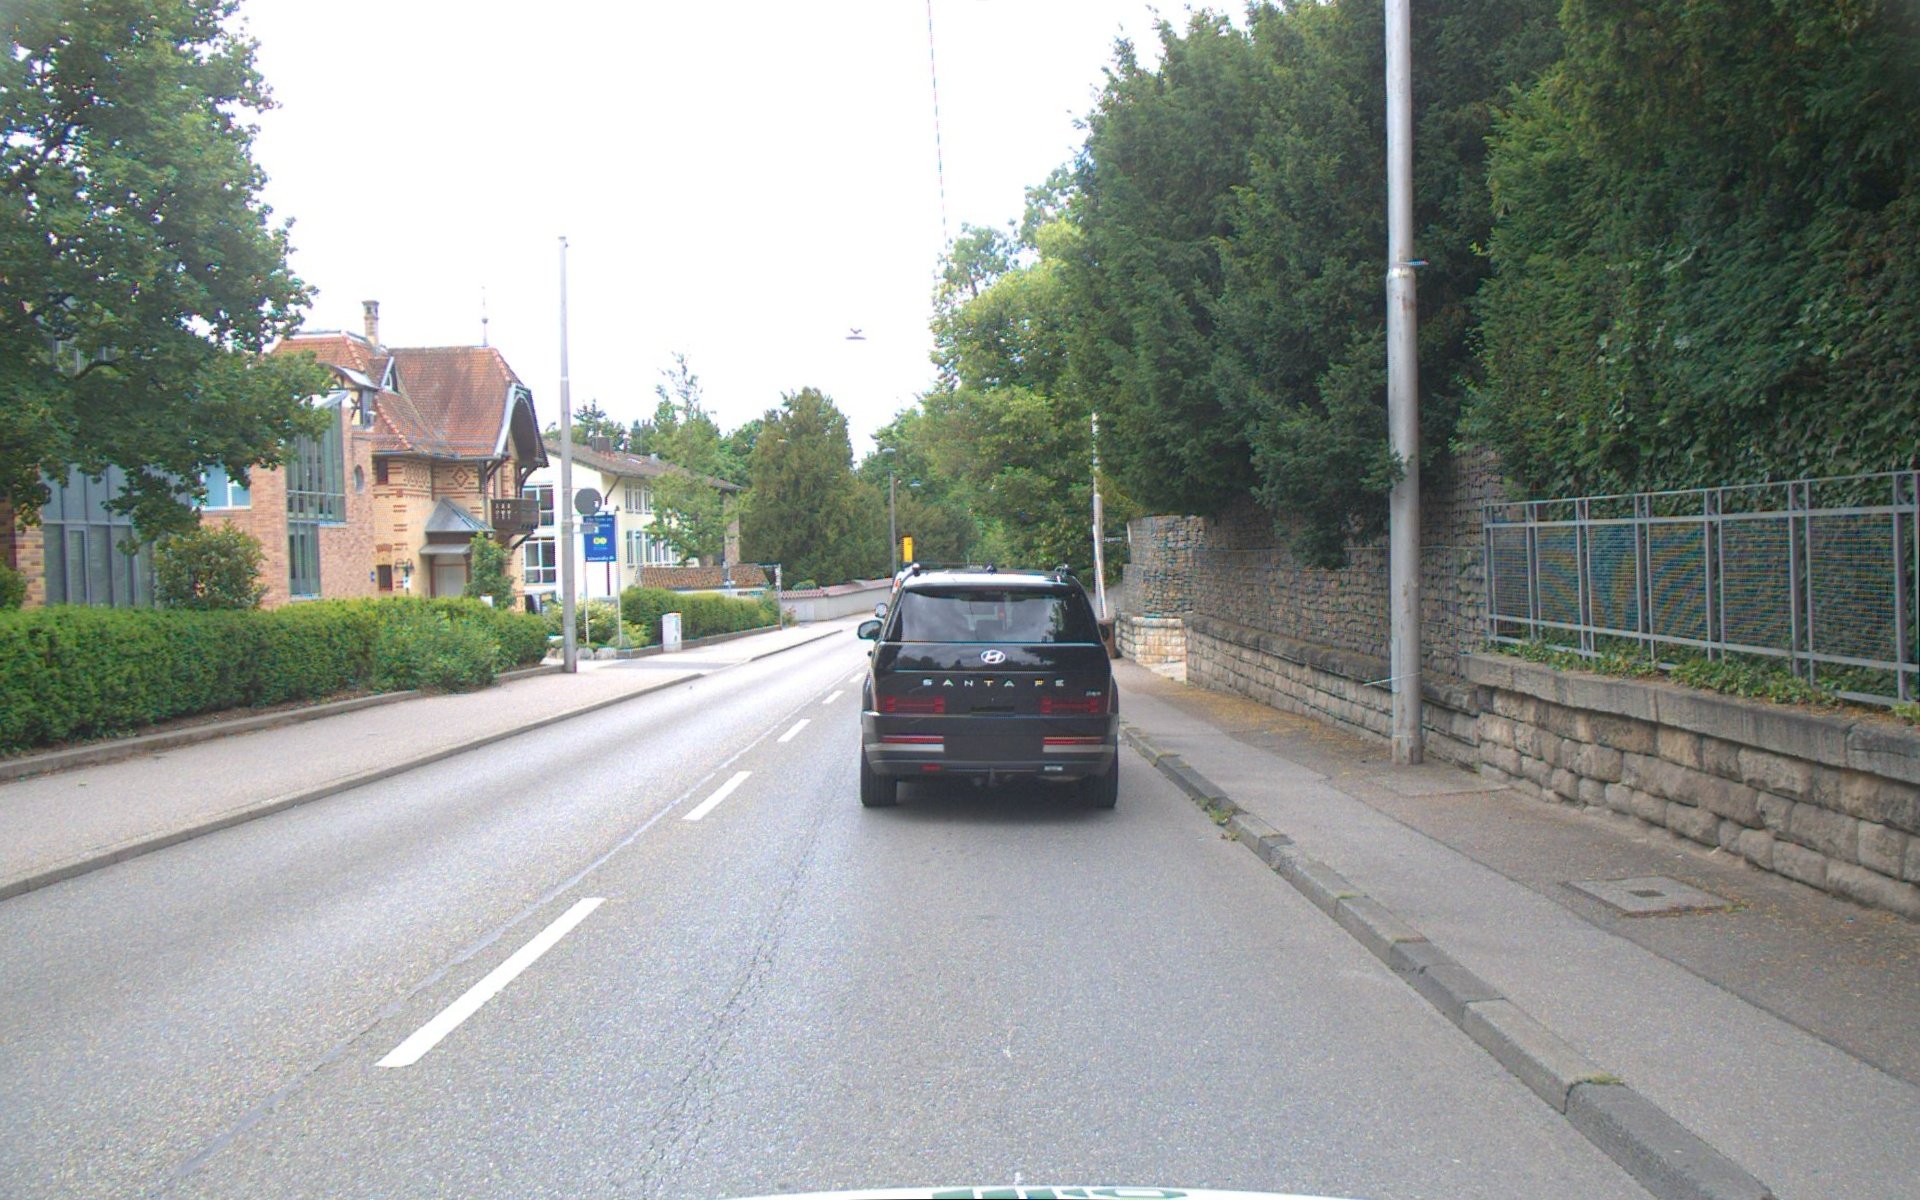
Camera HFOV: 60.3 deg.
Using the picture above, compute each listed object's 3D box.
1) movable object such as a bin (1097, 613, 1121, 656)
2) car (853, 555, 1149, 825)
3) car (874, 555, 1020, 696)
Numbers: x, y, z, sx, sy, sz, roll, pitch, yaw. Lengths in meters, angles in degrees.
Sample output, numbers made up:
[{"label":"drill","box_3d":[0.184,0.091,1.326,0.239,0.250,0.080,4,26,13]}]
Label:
[{"label":"movable object such as a bin","box_3d":[3.347,0.775,37.137,0.435,0.925,0.394,-4,0,9]},{"label":"car","box_3d":[0.275,0.573,13.024,1.917,1.743,4.223,1,1,0]},{"label":"car","box_3d":[-0.292,0.329,25.904,1.919,1.990,4.219,1,1,-5]}]
